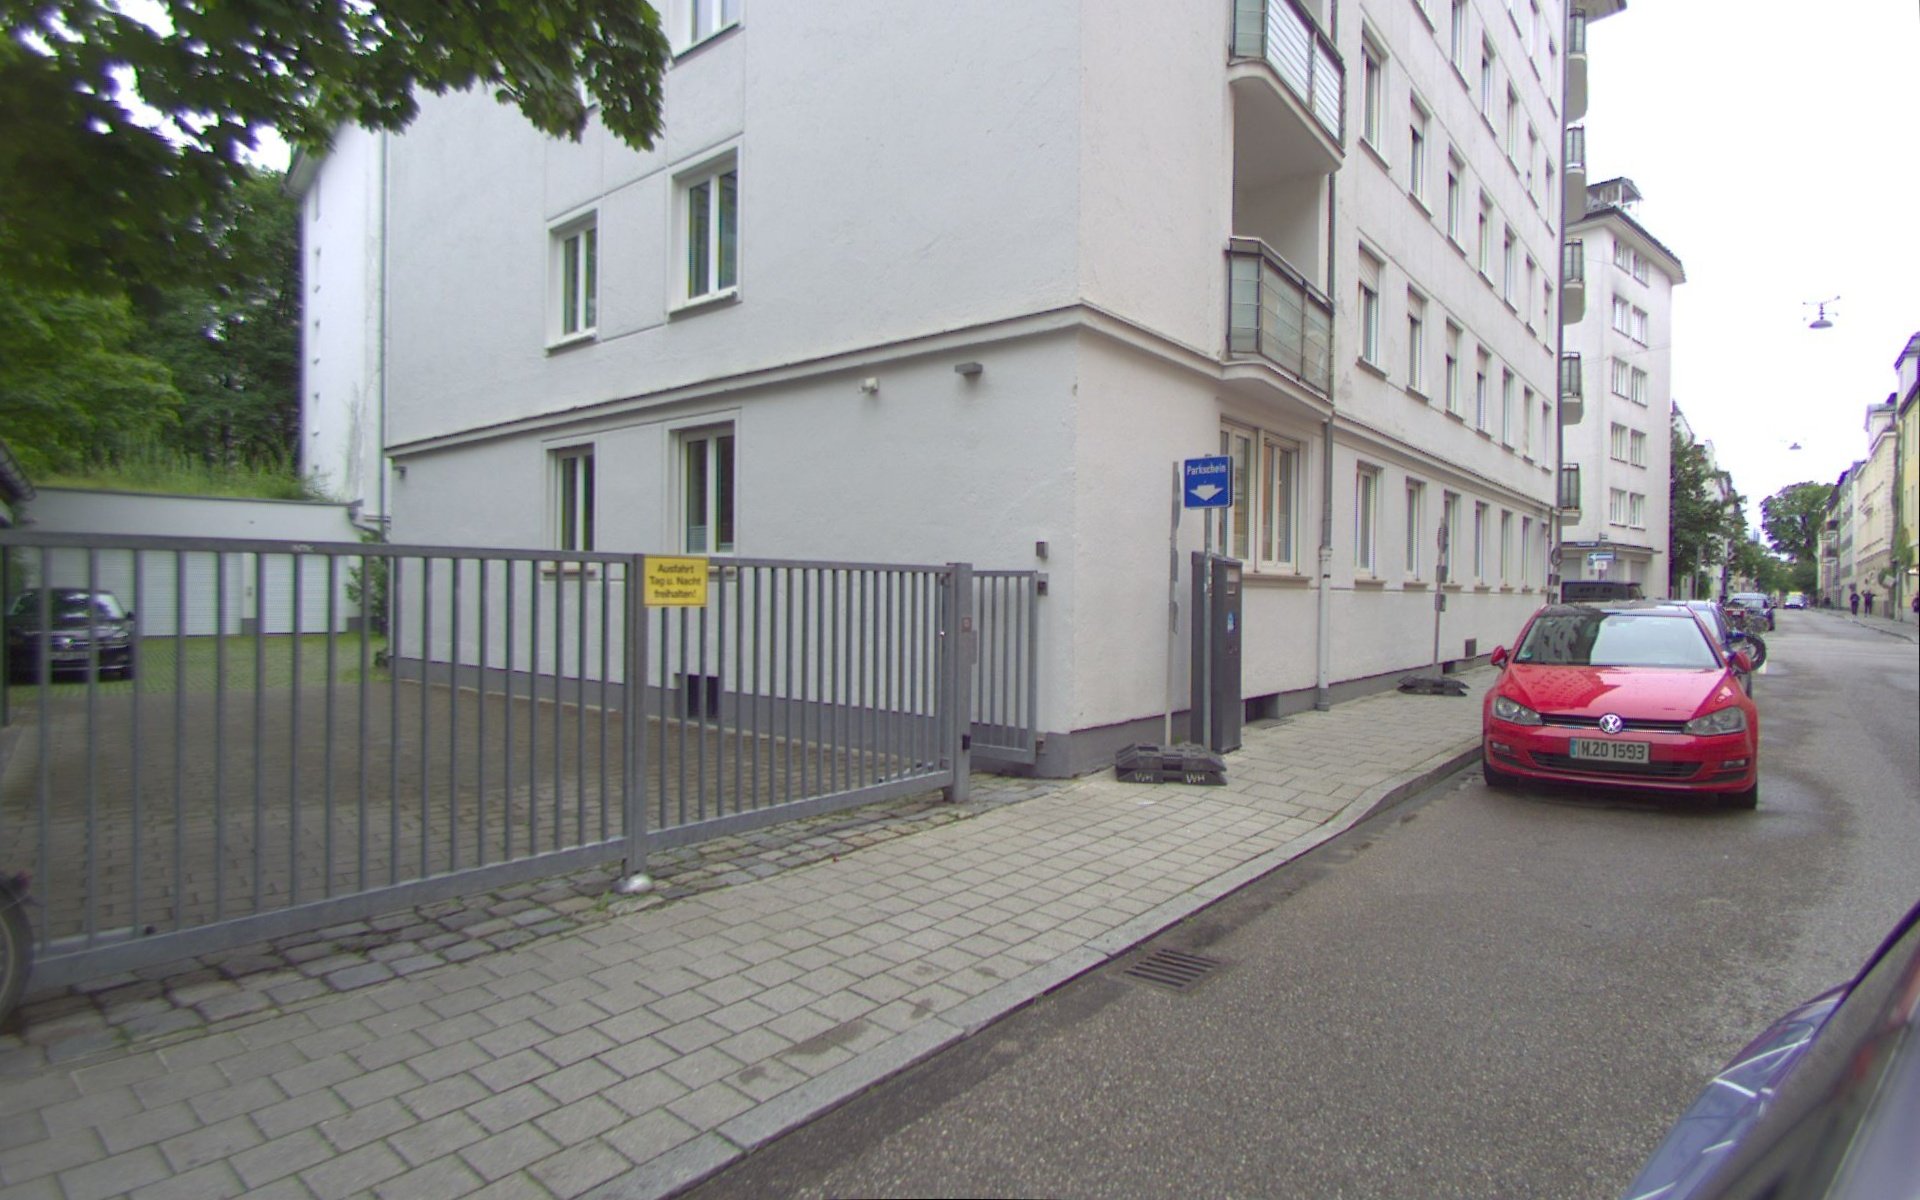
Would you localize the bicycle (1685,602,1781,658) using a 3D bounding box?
[{"bbox_3d":[17.372,0.651,22.763,1.692,1.175,0.373,1,1,40],"label":"bicycle"}]

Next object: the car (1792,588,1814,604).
[{"bbox_3d":[103.284,-0.484,124.022,1.921,1.828,4.381,1,1,39],"label":"car"}]

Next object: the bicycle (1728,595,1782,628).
[{"bbox_3d":[30.787,0.419,39.215,1.604,1.229,0.521,2,1,43],"label":"bicycle"}]

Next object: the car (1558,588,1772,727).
[{"bbox_3d":[9.050,0.595,12.833,1.792,1.457,4.319,-1,0,41],"label":"car"}]

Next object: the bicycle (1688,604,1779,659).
[{"bbox_3d":[16.375,0.650,21.451,0.354,1.056,1.441,0,3,-41],"label":"bicycle"}]

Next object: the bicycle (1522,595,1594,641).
[{"bbox_3d":[15.188,0.446,25.736,1.484,1.056,0.396,3,2,22],"label":"bicycle"}]

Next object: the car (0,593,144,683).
[{"bbox_3d":[-14.328,0.526,16.374,1.667,1.250,3.994,0,1,-40],"label":"car"}]

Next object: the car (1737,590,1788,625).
[{"bbox_3d":[34.911,0.291,43.986,1.647,1.416,3.943,2,1,39],"label":"car"}]

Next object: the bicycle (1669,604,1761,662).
[{"bbox_3d":[15.396,0.649,20.666,0.324,1.056,1.438,0,3,-41],"label":"bicycle"}]

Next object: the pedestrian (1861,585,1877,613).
[{"bbox_3d":[60.331,-0.088,67.196,0.723,1.815,0.818,1,1,40],"label":"pedestrian"}]

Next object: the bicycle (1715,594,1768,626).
[{"bbox_3d":[31.162,0.395,40.366,1.604,1.229,0.521,2,1,43],"label":"bicycle"}]

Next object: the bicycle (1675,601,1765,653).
[{"bbox_3d":[18.220,0.637,24.291,1.692,1.175,0.309,1,1,40],"label":"bicycle"}]

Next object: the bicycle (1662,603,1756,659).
[{"bbox_3d":[15.855,0.634,21.457,0.354,1.056,1.520,0,3,-42],"label":"bicycle"}]

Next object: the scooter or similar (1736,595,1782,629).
[{"bbox_3d":[30.020,0.439,38.022,1.337,1.229,0.339,2,1,43],"label":"scooter or similar"}]

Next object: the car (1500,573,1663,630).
[{"bbox_3d":[22.474,0.013,36.735,1.900,1.915,4.675,1,1,-42],"label":"car"}]

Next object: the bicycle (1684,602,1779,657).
[{"bbox_3d":[17.590,0.646,23.094,1.692,1.175,0.373,1,1,40],"label":"bicycle"}]

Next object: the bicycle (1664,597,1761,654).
[{"bbox_3d":[16.564,0.548,22.305,1.692,1.175,0.373,1,1,40],"label":"bicycle"}]

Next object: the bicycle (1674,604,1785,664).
[{"bbox_3d":[15.294,0.662,20.149,1.701,1.056,0.355,4,3,41],"label":"bicycle"}]

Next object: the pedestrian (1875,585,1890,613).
[{"bbox_3d":[60.901,-0.081,66.824,0.697,1.815,0.752,1,1,40],"label":"pedestrian"}]

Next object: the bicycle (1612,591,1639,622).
[{"bbox_3d":[26.762,0.245,40.716,1.582,1.229,0.528,0,1,-43],"label":"bicycle"}]

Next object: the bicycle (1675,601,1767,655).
[{"bbox_3d":[17.779,0.641,23.675,1.692,1.175,0.373,1,1,40],"label":"bicycle"}]

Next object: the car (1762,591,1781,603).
[{"bbox_3d":[92.631,-0.354,115.457,1.647,1.416,3.943,2,1,39],"label":"car"}]

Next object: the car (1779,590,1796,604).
[{"bbox_3d":[124.357,-0.437,152.096,1.990,2.039,4.581,1,1,39],"label":"car"}]

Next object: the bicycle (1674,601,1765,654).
[{"bbox_3d":[17.998,0.635,24.004,1.692,1.175,0.373,1,1,40],"label":"bicycle"}]

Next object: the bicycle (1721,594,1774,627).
[{"bbox_3d":[30.966,0.407,39.804,1.604,1.229,0.521,2,1,43],"label":"bicycle"}]

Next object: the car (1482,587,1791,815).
[{"bbox_3d":[5.771,0.644,8.781,1.754,1.465,4.247,-1,0,33],"label":"car"}]

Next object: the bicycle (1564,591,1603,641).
[{"bbox_3d":[16.580,0.409,26.944,0.393,1.219,1.499,2,2,15],"label":"bicycle"}]

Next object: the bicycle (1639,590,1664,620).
[{"bbox_3d":[29.673,0.213,43.399,1.582,1.229,0.528,0,1,-43],"label":"bicycle"}]

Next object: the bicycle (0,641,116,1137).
[{"bbox_3d":[-3.125,0.700,2.224,0.706,1.214,1.806,1,-2,40],"label":"bicycle"}]

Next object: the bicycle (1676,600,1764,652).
[{"bbox_3d":[18.419,0.614,24.549,1.692,1.175,0.309,1,1,40],"label":"bicycle"}]
